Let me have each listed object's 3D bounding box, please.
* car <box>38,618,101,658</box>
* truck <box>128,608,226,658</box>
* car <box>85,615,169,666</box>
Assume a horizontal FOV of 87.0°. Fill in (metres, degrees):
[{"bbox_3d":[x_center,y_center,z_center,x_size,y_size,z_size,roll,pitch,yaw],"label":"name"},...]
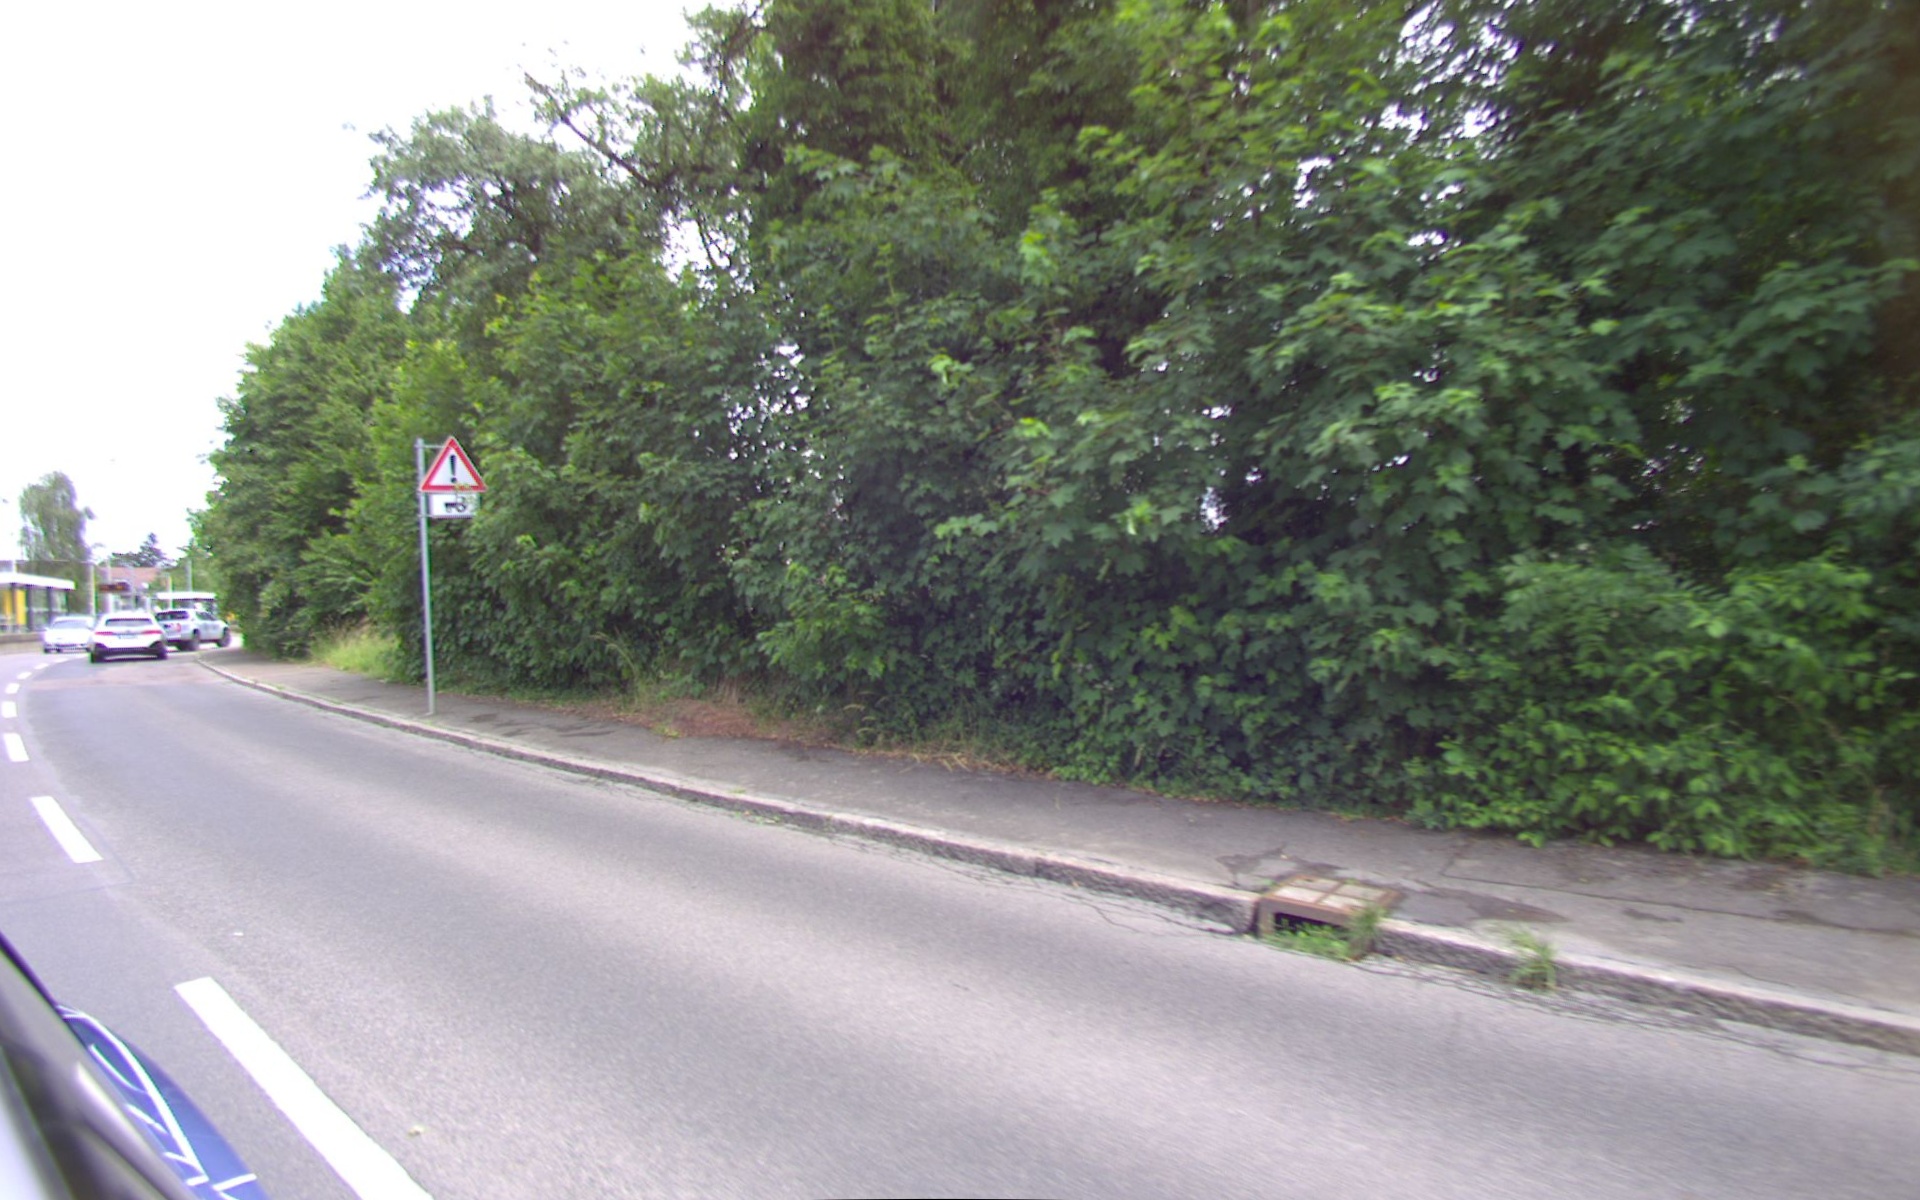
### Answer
[{"bbox_3d":[-40.313,1.695,45.890,1.707,1.661,4.236,-3,0,-36],"label":"car"},{"bbox_3d":[-33.951,1.372,44.073,1.822,1.981,4.974,-2,0,-19],"label":"truck"},{"bbox_3d":[-26.906,1.251,32.642,1.906,1.533,4.665,1,-2,-41],"label":"car"}]
